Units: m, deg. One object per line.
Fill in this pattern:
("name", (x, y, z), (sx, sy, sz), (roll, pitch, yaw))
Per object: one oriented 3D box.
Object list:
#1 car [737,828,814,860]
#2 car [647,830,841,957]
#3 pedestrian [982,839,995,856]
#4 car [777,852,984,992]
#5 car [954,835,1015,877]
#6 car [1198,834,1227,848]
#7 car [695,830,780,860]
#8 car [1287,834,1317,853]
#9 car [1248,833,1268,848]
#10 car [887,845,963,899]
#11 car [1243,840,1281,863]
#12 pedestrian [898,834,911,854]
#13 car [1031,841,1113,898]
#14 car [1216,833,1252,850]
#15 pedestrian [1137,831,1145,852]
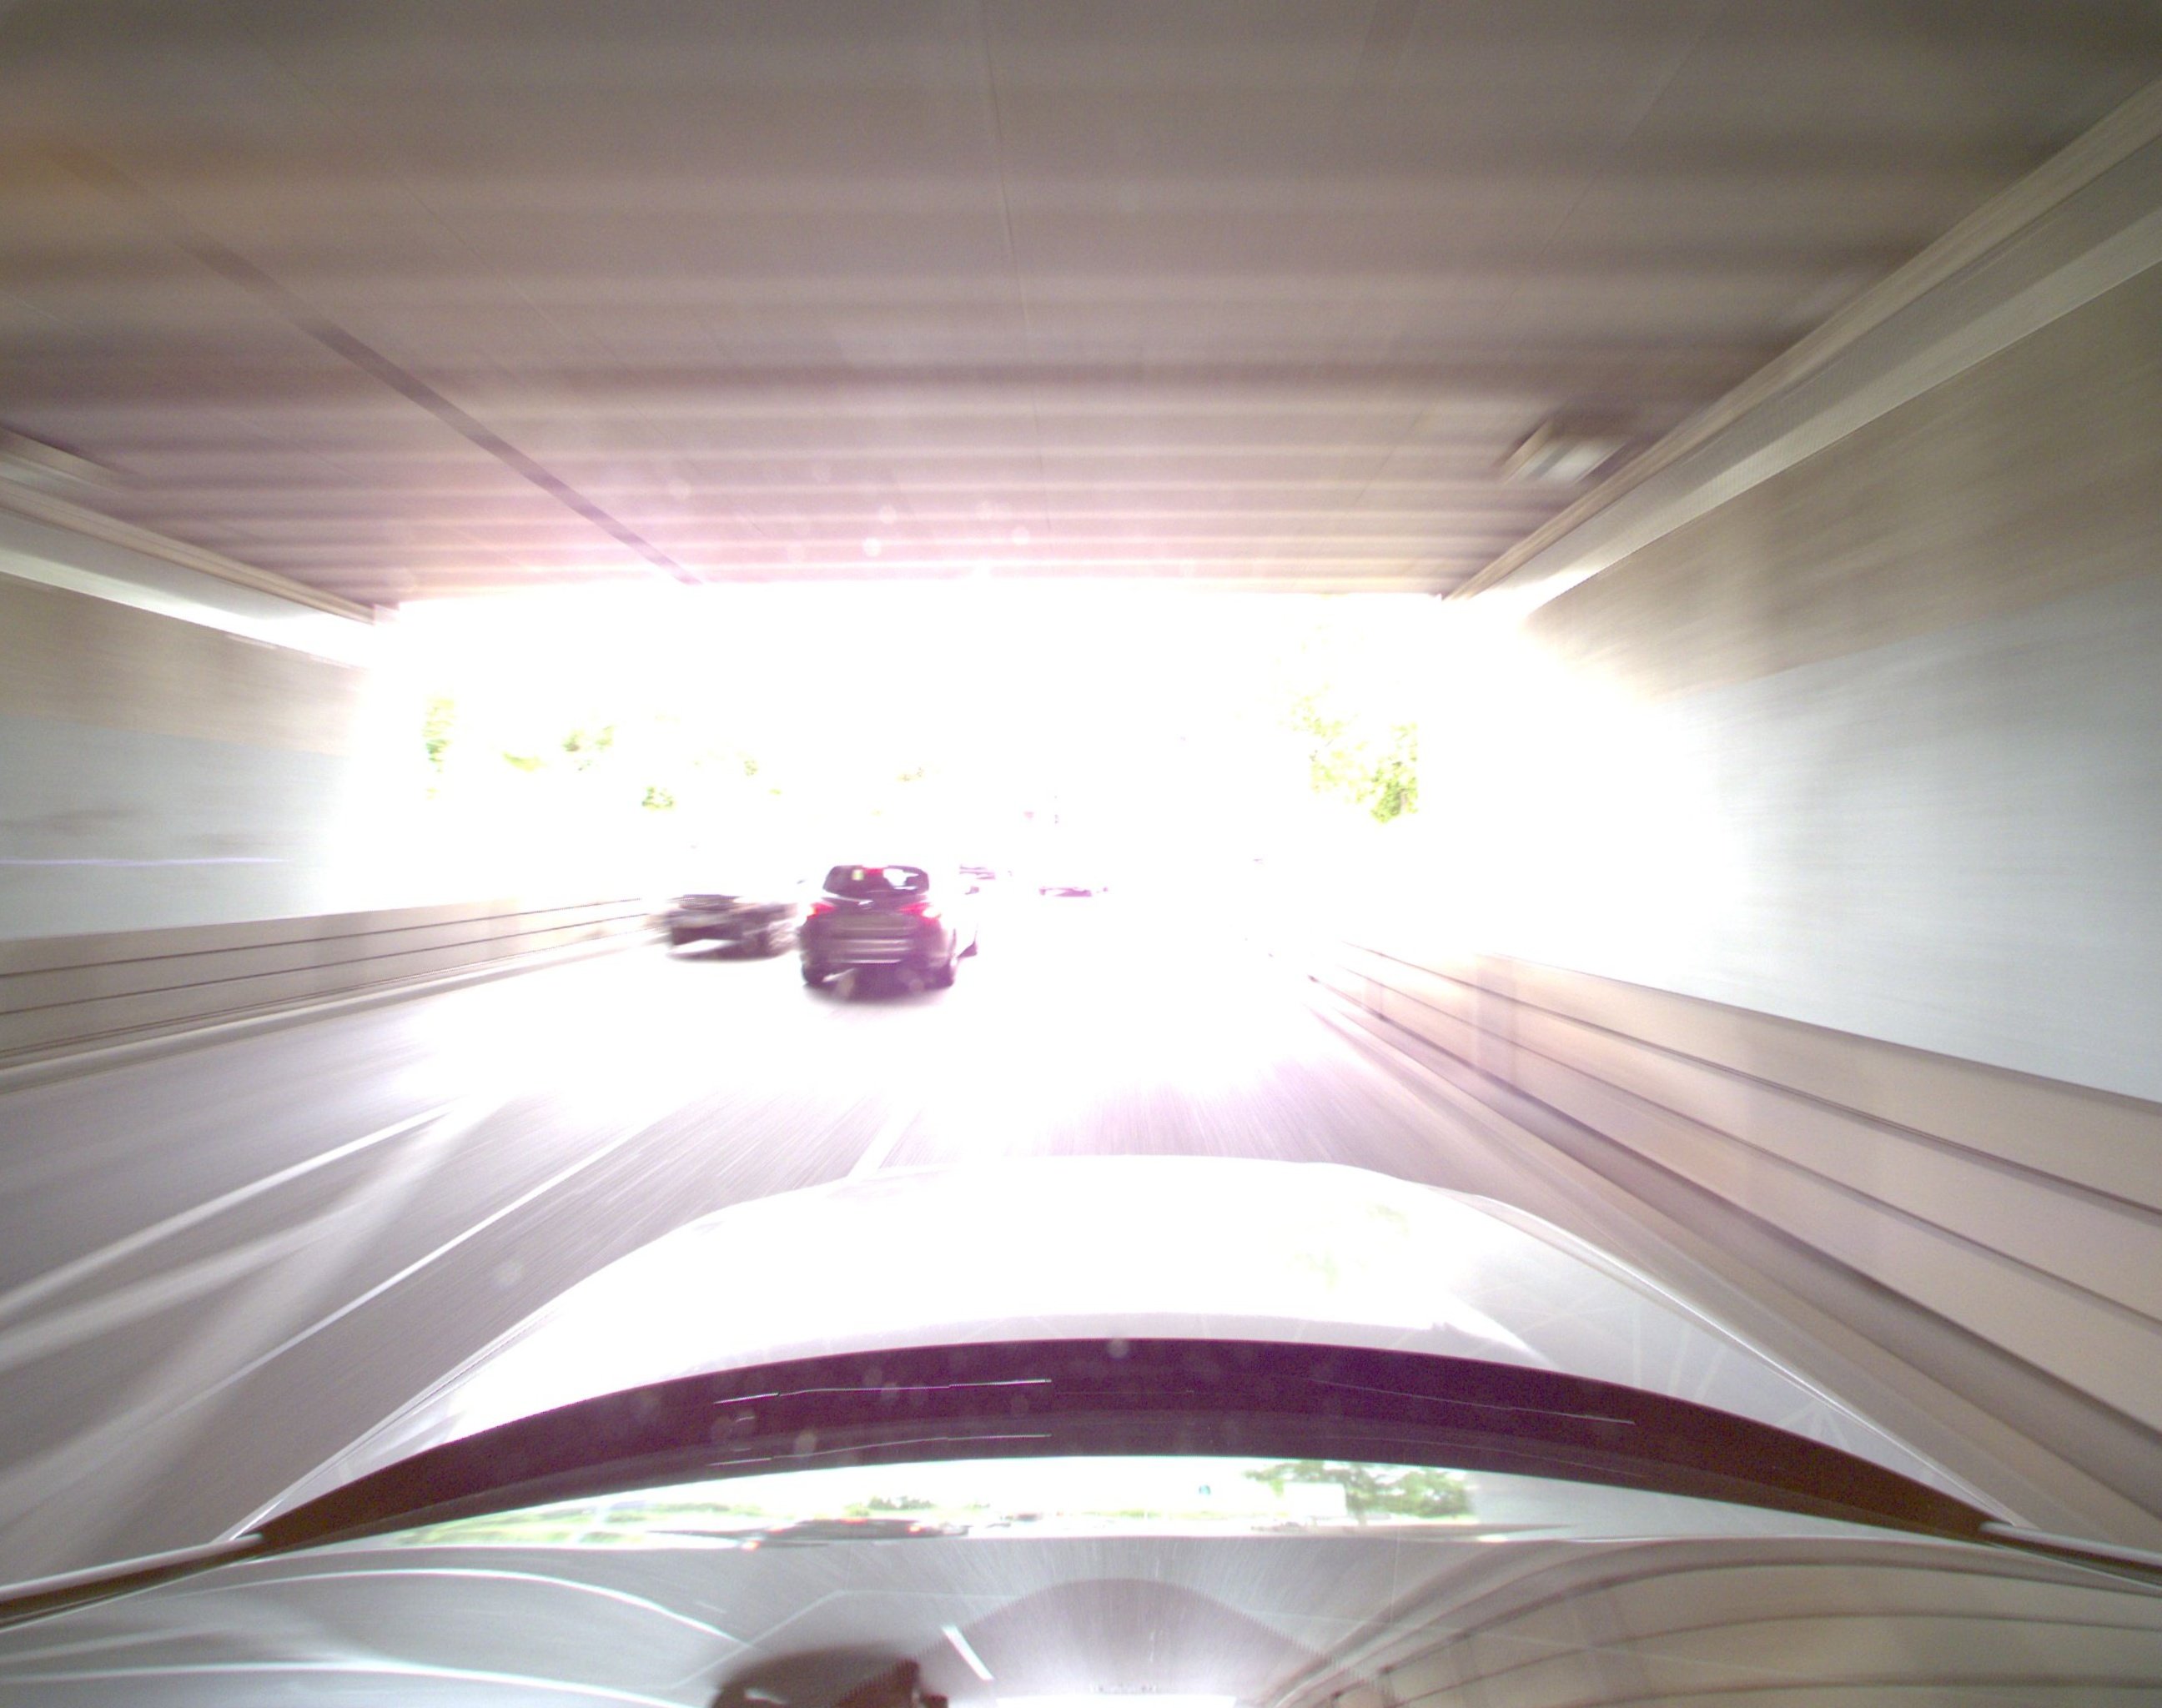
("car", (-18.797, -0.599, 50.295), (3.976, 1.947, 1.999), (0, 0, -2))
("car", (-5.137, 0.525, 12.986), (1.683, 1.708, 3.785), (1, 1, -4))
("pedestrian", (-6.950, -0.516, 61.166), (0.910, 1.224, 0.727), (3, 1, -8))
("car", (-2.393, 0.729, 10.778), (1.840, 1.493, 3.997), (0, 0, -2))
("car", (-4.073, 0.072, 35.014), (1.986, 1.698, 4.169), (0, 1, 2))
("car", (13.128, -1.272, 81.031), (1.839, 1.360, 4.023), (1, 1, 25))
("car", (-19.423, -0.530, 46.104), (3.968, 1.596, 1.875), (1, 1, 5))
("car", (19.780, -0.954, 72.827), (1.976, 1.618, 4.023), (0, 1, 24))
("car", (18.001, -1.372, 82.795), (1.149, 1.366, 2.520), (4, 1, 31))
("car", (-4.894, 0.494, 26.027), (1.759, 1.592, 3.997), (0, 1, -2))
("car", (12.190, -0.215, 54.667), (1.883, 1.466, 4.021), (1, 1, 22))
("pedestrian", (-13.938, -0.791, 64.284), (0.952, 1.612, 0.697), (1, 1, -9))
("car", (-0.201, 0.446, 26.546), (1.817, 1.706, 3.882), (1, 1, 12))
("car", (14.575, -1.211, 77.379), (1.824, 1.454, 4.026), (4, 3, 33))
("pedestrian", (5.380, -1.129, 73.273), (0.604, 1.862, 0.595), (1, 1, -12))
